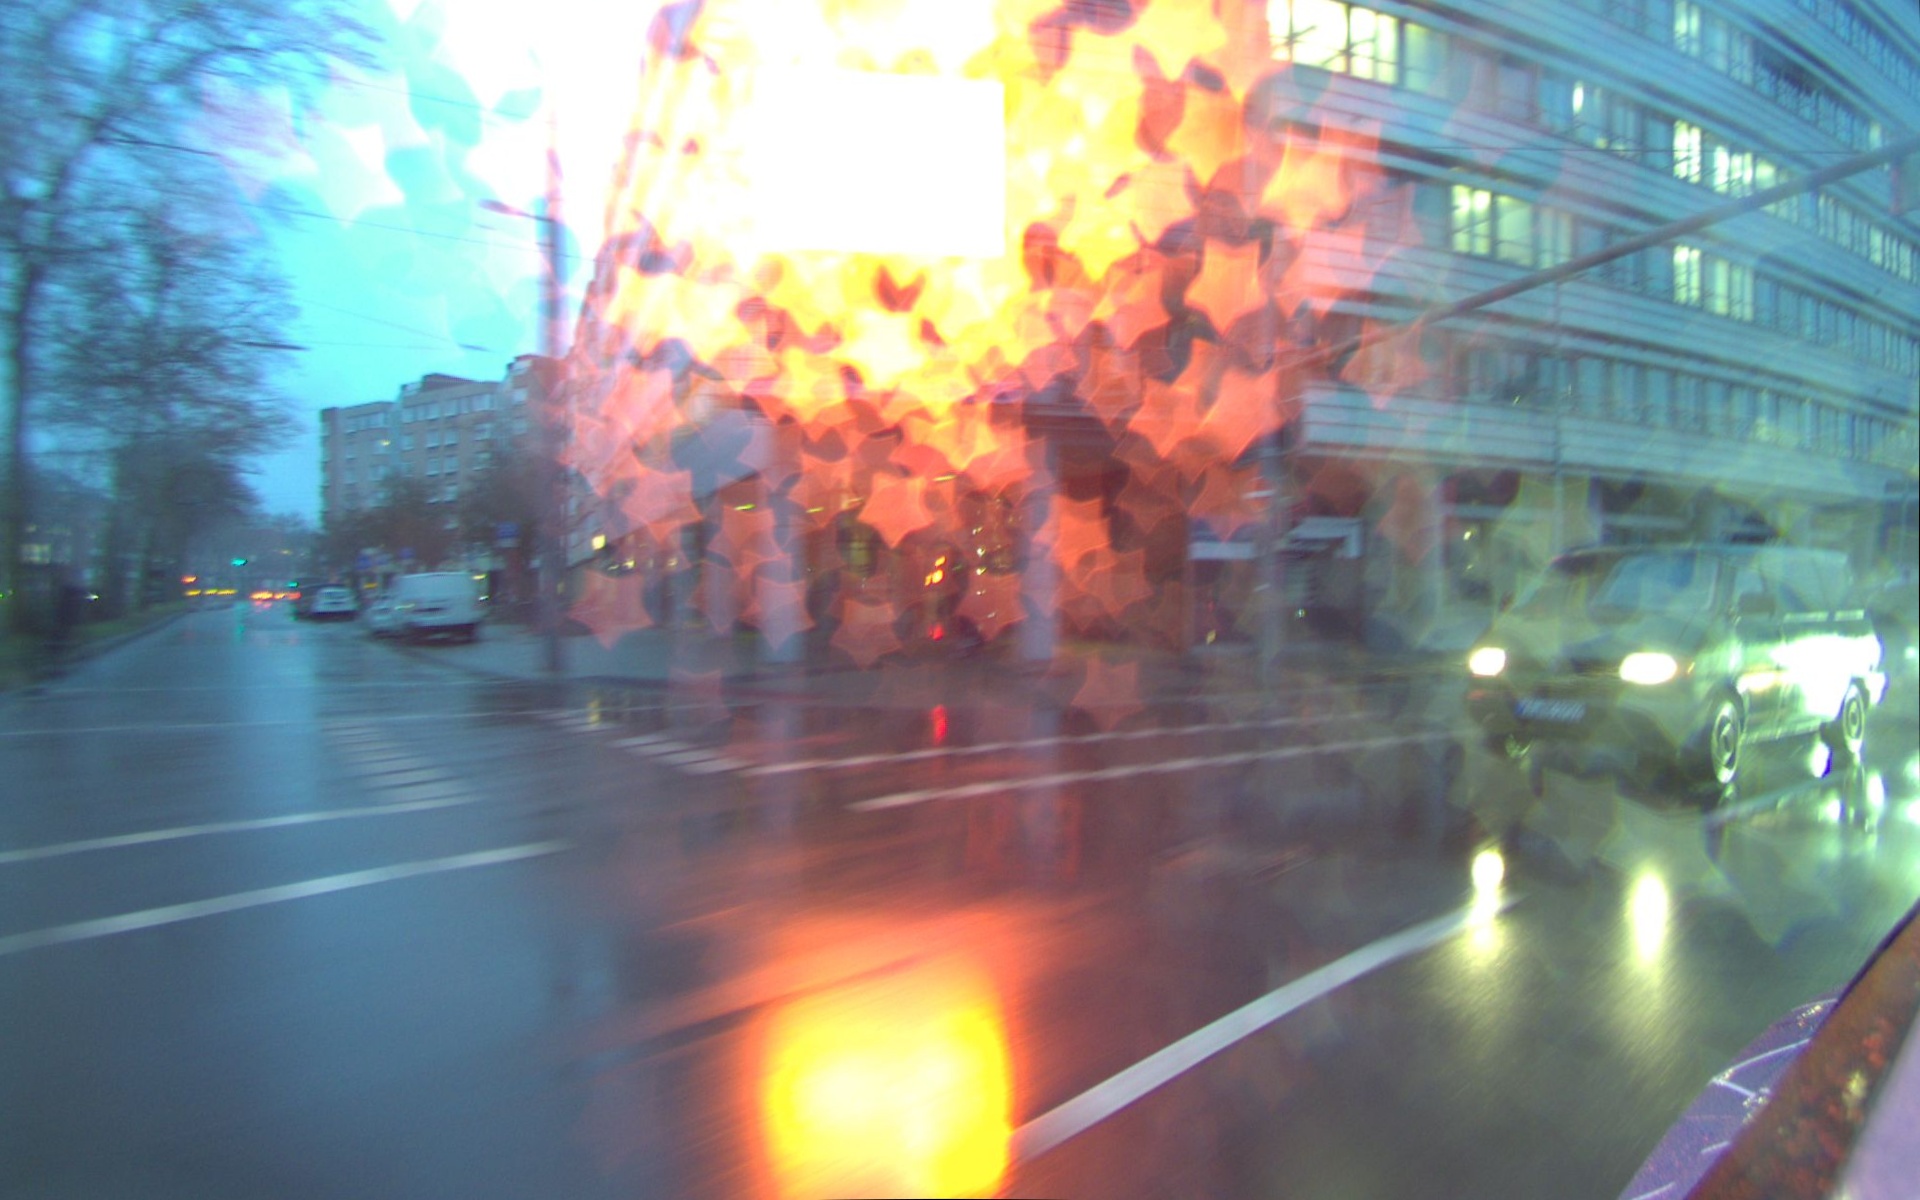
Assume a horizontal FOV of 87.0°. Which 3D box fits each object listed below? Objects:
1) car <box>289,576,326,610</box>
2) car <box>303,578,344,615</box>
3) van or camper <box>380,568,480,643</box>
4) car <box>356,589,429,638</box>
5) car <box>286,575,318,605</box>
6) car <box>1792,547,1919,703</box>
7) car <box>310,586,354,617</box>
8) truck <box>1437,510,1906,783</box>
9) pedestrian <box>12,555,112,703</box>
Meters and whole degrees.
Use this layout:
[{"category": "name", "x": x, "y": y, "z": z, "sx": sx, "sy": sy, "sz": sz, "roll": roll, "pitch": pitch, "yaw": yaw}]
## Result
[{"category": "car", "x": -39.131, "y": -0.441, "z": 60.690, "sx": 1.807, "sy": 1.975, "sz": 4.002, "roll": 0, "pitch": 1, "yaw": -33}, {"category": "car", "x": -35.103, "y": -0.234, "z": 55.794, "sx": 1.807, "sy": 1.975, "sz": 4.002, "roll": 0, "pitch": 1, "yaw": -33}, {"category": "van or camper", "x": -15.191, "y": 0.132, "z": 28.873, "sx": 1.807, "sy": 1.953, "sz": 4.745, "roll": 0, "pitch": 0, "yaw": -37}, {"category": "car", "x": -18.916, "y": 0.421, "z": 33.664, "sx": 1.613, "sy": 1.547, "sz": 3.841, "roll": 0, "pitch": 0, "yaw": -37}, {"category": "car", "x": -44.847, "y": -0.721, "z": 68.954, "sx": 1.807, "sy": 1.975, "sz": 4.002, "roll": 0, "pitch": 1, "yaw": -33}, {"category": "car", "x": 13.234, "y": 0.297, "z": 13.281, "sx": 4.593, "sy": 1.843, "sz": 1.913, "roll": 0, "pitch": -2, "yaw": -28}, {"category": "car", "x": -31.887, "y": 0.057, "z": 51.344, "sx": 1.807, "sy": 1.451, "sz": 4.002, "roll": 0, "pitch": 1, "yaw": -33}, {"category": "truck", "x": 6.586, "y": 0.350, "z": 9.242, "sx": 4.526, "sy": 1.942, "sz": 1.911, "roll": 0, "pitch": -2, "yaw": -33}, {"category": "pedestrian", "x": -11.502, "y": 0.354, "z": 12.971, "sx": 0.790, "sy": 1.834, "sz": 0.647, "roll": 0, "pitch": 0, "yaw": 18}]
